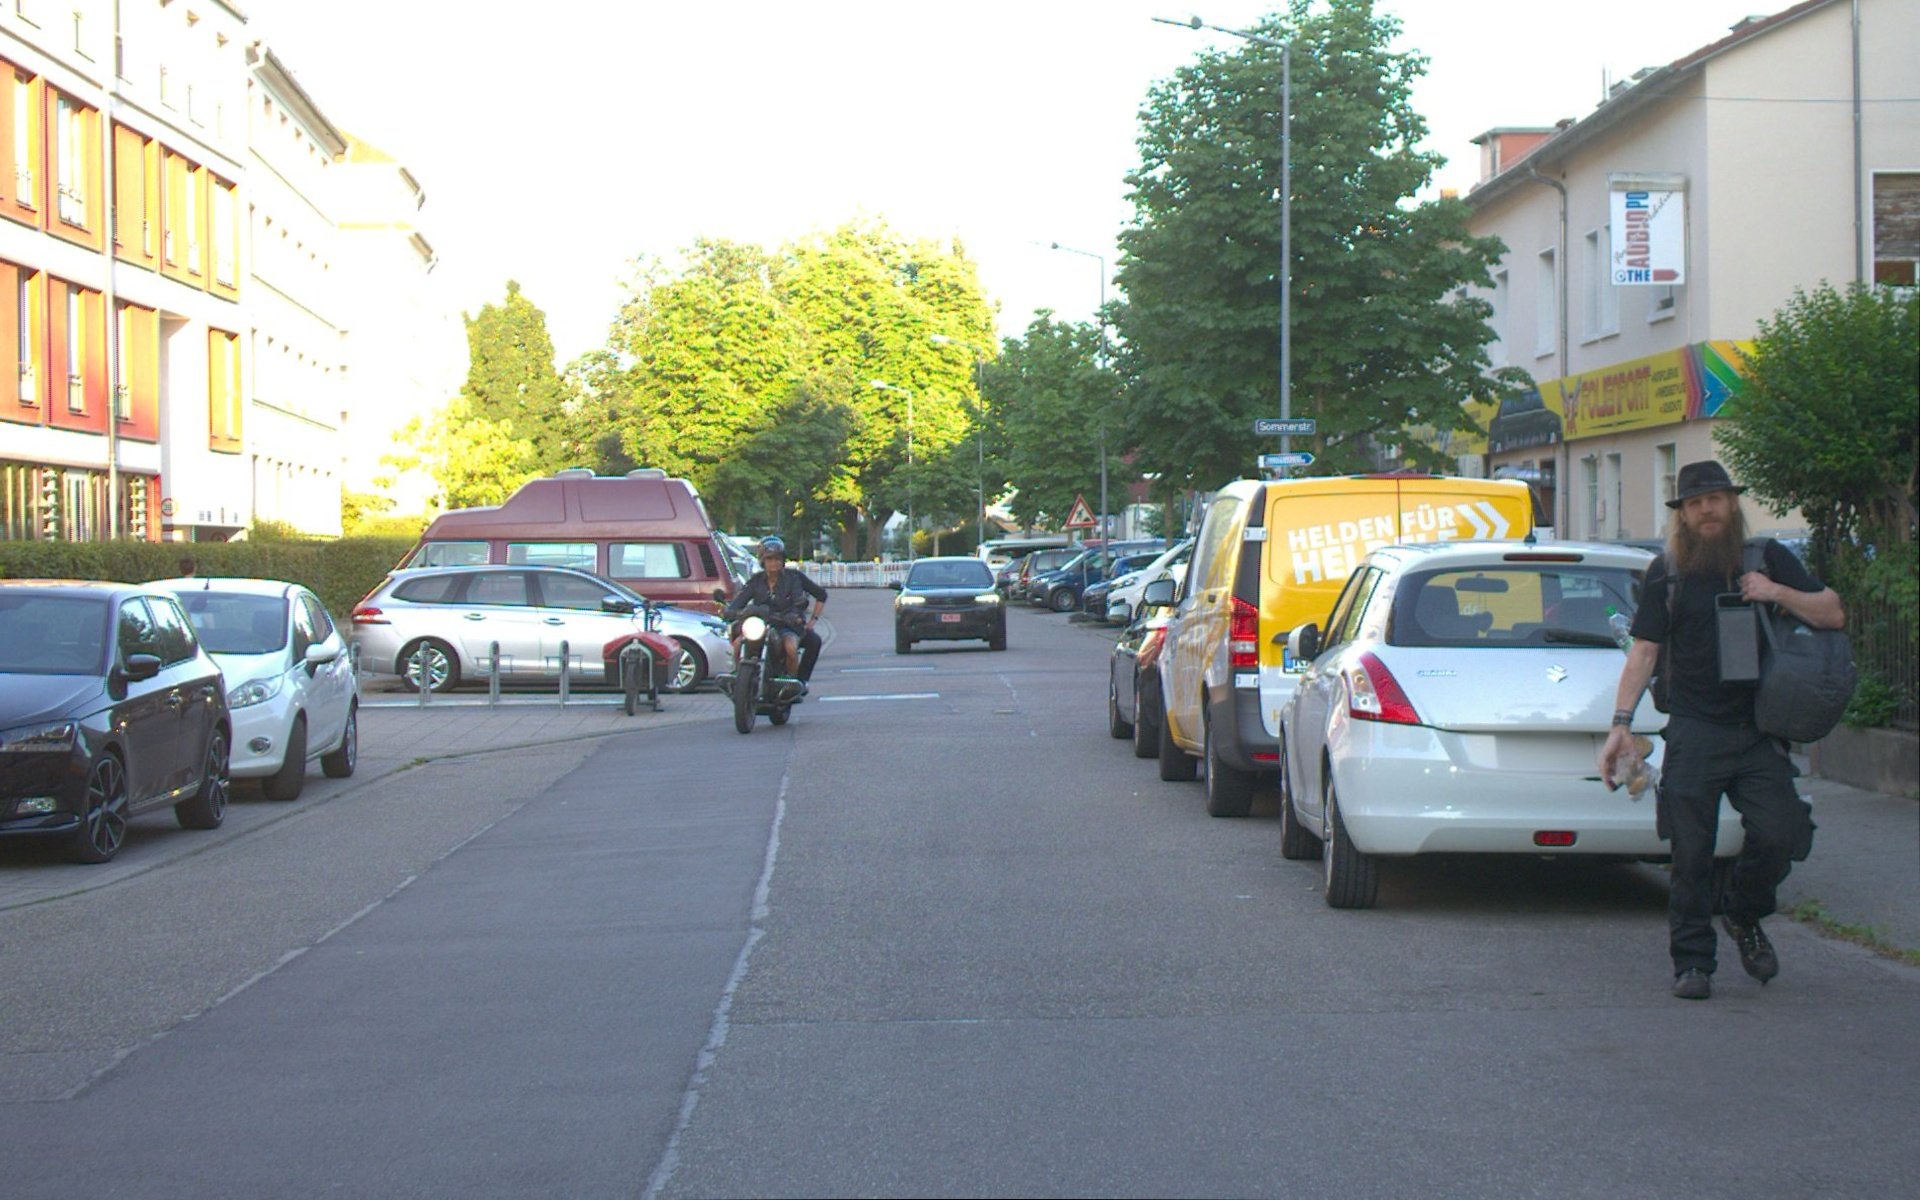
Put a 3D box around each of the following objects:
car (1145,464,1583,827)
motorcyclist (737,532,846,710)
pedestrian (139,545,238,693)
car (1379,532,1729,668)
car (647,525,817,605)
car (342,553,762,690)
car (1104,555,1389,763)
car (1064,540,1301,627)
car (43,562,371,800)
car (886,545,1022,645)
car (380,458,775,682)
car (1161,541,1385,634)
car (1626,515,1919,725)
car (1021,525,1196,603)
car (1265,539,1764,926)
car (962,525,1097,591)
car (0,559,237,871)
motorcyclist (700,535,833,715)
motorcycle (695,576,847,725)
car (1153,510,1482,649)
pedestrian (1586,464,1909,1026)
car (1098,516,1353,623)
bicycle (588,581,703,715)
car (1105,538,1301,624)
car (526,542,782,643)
[{"bbox_3d":[2.235,0.202,20.387,1.893,1.877,5.082,0,1,-1],"label":"car"},{"bbox_3d":[-1.495,0.185,30.610,0.787,1.535,0.545,-3,0,9],"label":"motorcyclist"},{"bbox_3d":[-7.977,0.190,35.574,0.832,1.496,0.798,1,1,0],"label":"pedestrian"},{"bbox_3d":[7.401,-0.016,43.073,4.050,1.509,1.756,-2,2,1],"label":"car"},{"bbox_3d":[-6.289,-0.978,95.149,4.533,2.127,2.000,1,1,0],"label":"car"},{"bbox_3d":[-4.583,0.227,39.095,4.615,1.455,1.881,1,1,-4],"label":"car"},{"bbox_3d":[2.083,0.380,26.013,1.721,1.419,4.253,1,1,-1],"label":"car"},{"bbox_3d":[4.837,-0.365,75.314,4.943,1.683,2.077,-2,1,-2],"label":"car"},{"bbox_3d":[-5.205,0.500,24.207,1.650,1.525,4.018,0,1,-3],"label":"car"},{"bbox_3d":[-0.056,-0.101,55.765,1.780,1.512,3.999,-2,1,6],"label":"car"},{"bbox_3d":[-4.582,-0.370,41.666,4.511,2.575,2.000,1,1,1],"label":"car"},{"bbox_3d":[5.736,-0.237,63.362,3.912,1.521,1.939,-2,1,1],"label":"car"},{"bbox_3d":[6.419,0.095,26.026,1.726,1.419,4.424,-2,1,-2],"label":"car"},{"bbox_3d":[3.992,-0.983,92.797,4.478,1.905,1.688,-2,1,-5],"label":"car"},{"bbox_3d":[2.288,0.478,15.078,1.674,1.472,3.861,0,1,2],"label":"car"},{"bbox_3d":[2.175,-1.328,108.390,3.967,1.905,2.049,-2,1,-5],"label":"car"},{"bbox_3d":[-5.211,0.544,18.878,1.703,1.529,3.844,0,1,-1],"label":"car"},{"bbox_3d":[-1.672,0.209,29.858,0.890,1.500,0.969,-3,0,9],"label":"motorcyclist"},{"bbox_3d":[-1.633,0.424,30.159,0.846,1.205,2.074,-3,0,9],"label":"motorcycle"},{"bbox_3d":[5.690,-0.332,55.213,4.990,1.976,2.220,-2,1,0],"label":"car"},{"bbox_3d":[2.516,0.439,11.093,0.888,1.716,0.958,1,1,7],"label":"pedestrian"},{"bbox_3d":[5.399,-0.635,70.376,4.943,1.951,2.049,-2,1,-2],"label":"car"},{"bbox_3d":[-3.070,0.443,33.800,0.808,1.217,2.865,1,1,1],"label":"bicycle"},{"bbox_3d":[5.643,-0.452,80.228,4.316,1.798,1.811,-2,1,-2],"label":"car"},{"bbox_3d":[-5.277,-0.136,59.740,4.256,1.654,2.000,1,1,0],"label":"car"}]
